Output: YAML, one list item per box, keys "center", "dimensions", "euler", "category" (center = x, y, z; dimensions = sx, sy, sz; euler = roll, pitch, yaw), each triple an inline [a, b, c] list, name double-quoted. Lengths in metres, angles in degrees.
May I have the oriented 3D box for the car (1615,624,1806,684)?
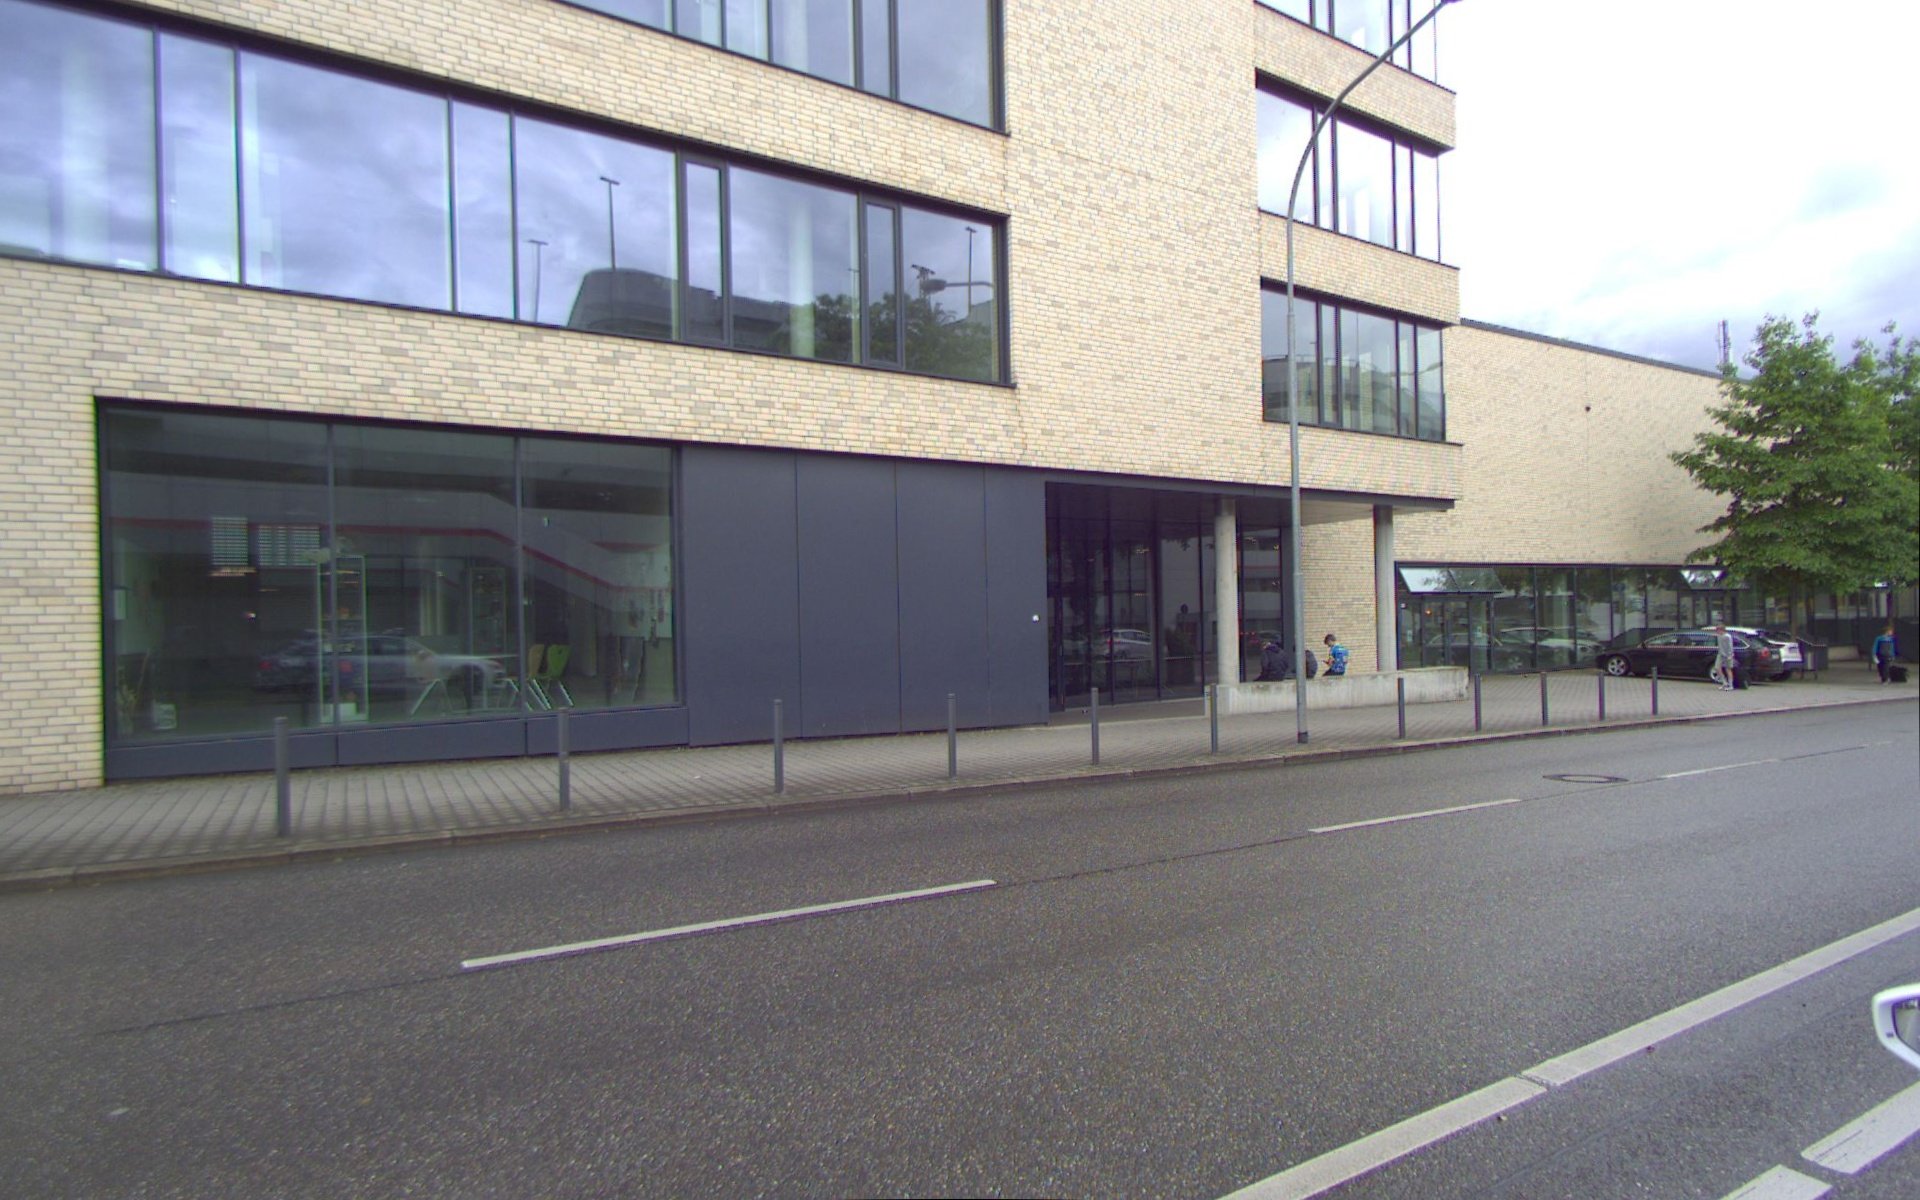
- center: [23.356, 1.614, 31.417]
  dimensions: [1.980, 1.595, 4.388]
  euler: [-1, 1, -35]
  category: "car"

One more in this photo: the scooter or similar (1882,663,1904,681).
- center: [28.904, 2.225, 31.112]
  dimensions: [0.493, 0.543, 0.358]
  euler: [3, -1, -31]
  category: "scooter or similar"

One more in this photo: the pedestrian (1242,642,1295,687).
- center: [5.860, 1.223, 19.095]
  dimensions: [0.751, 0.796, 0.595]
  euler: [2, 0, -30]
  category: "pedestrian"

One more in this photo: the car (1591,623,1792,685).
- center: [21.501, 1.516, 29.702]
  dimensions: [1.981, 1.608, 4.437]
  euler: [1, -1, -36]
  category: "car"

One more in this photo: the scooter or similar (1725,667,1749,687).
- center: [20.367, 2.015, 26.330]
  dimensions: [0.609, 0.507, 0.278]
  euler: [2, 0, -31]
  category: "scooter or similar"

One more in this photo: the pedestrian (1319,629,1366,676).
- center: [7.636, 1.043, 20.062]
  dimensions: [0.519, 0.897, 0.677]
  euler: [2, 0, -33]
  category: "pedestrian"

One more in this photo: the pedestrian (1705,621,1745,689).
- center: [19.844, 1.414, 26.052]
  dimensions: [0.473, 1.720, 0.672]
  euler: [1, 0, -30]
  category: "pedestrian"

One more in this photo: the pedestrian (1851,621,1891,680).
- center: [28.119, 1.555, 30.991]
  dimensions: [0.746, 1.748, 0.685]
  euler: [4, -1, -31]
  category: "pedestrian"

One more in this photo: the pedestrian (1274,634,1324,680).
- center: [6.582, 1.106, 19.502]
  dimensions: [0.719, 0.856, 0.583]
  euler: [2, -1, -30]
  category: "pedestrian"
